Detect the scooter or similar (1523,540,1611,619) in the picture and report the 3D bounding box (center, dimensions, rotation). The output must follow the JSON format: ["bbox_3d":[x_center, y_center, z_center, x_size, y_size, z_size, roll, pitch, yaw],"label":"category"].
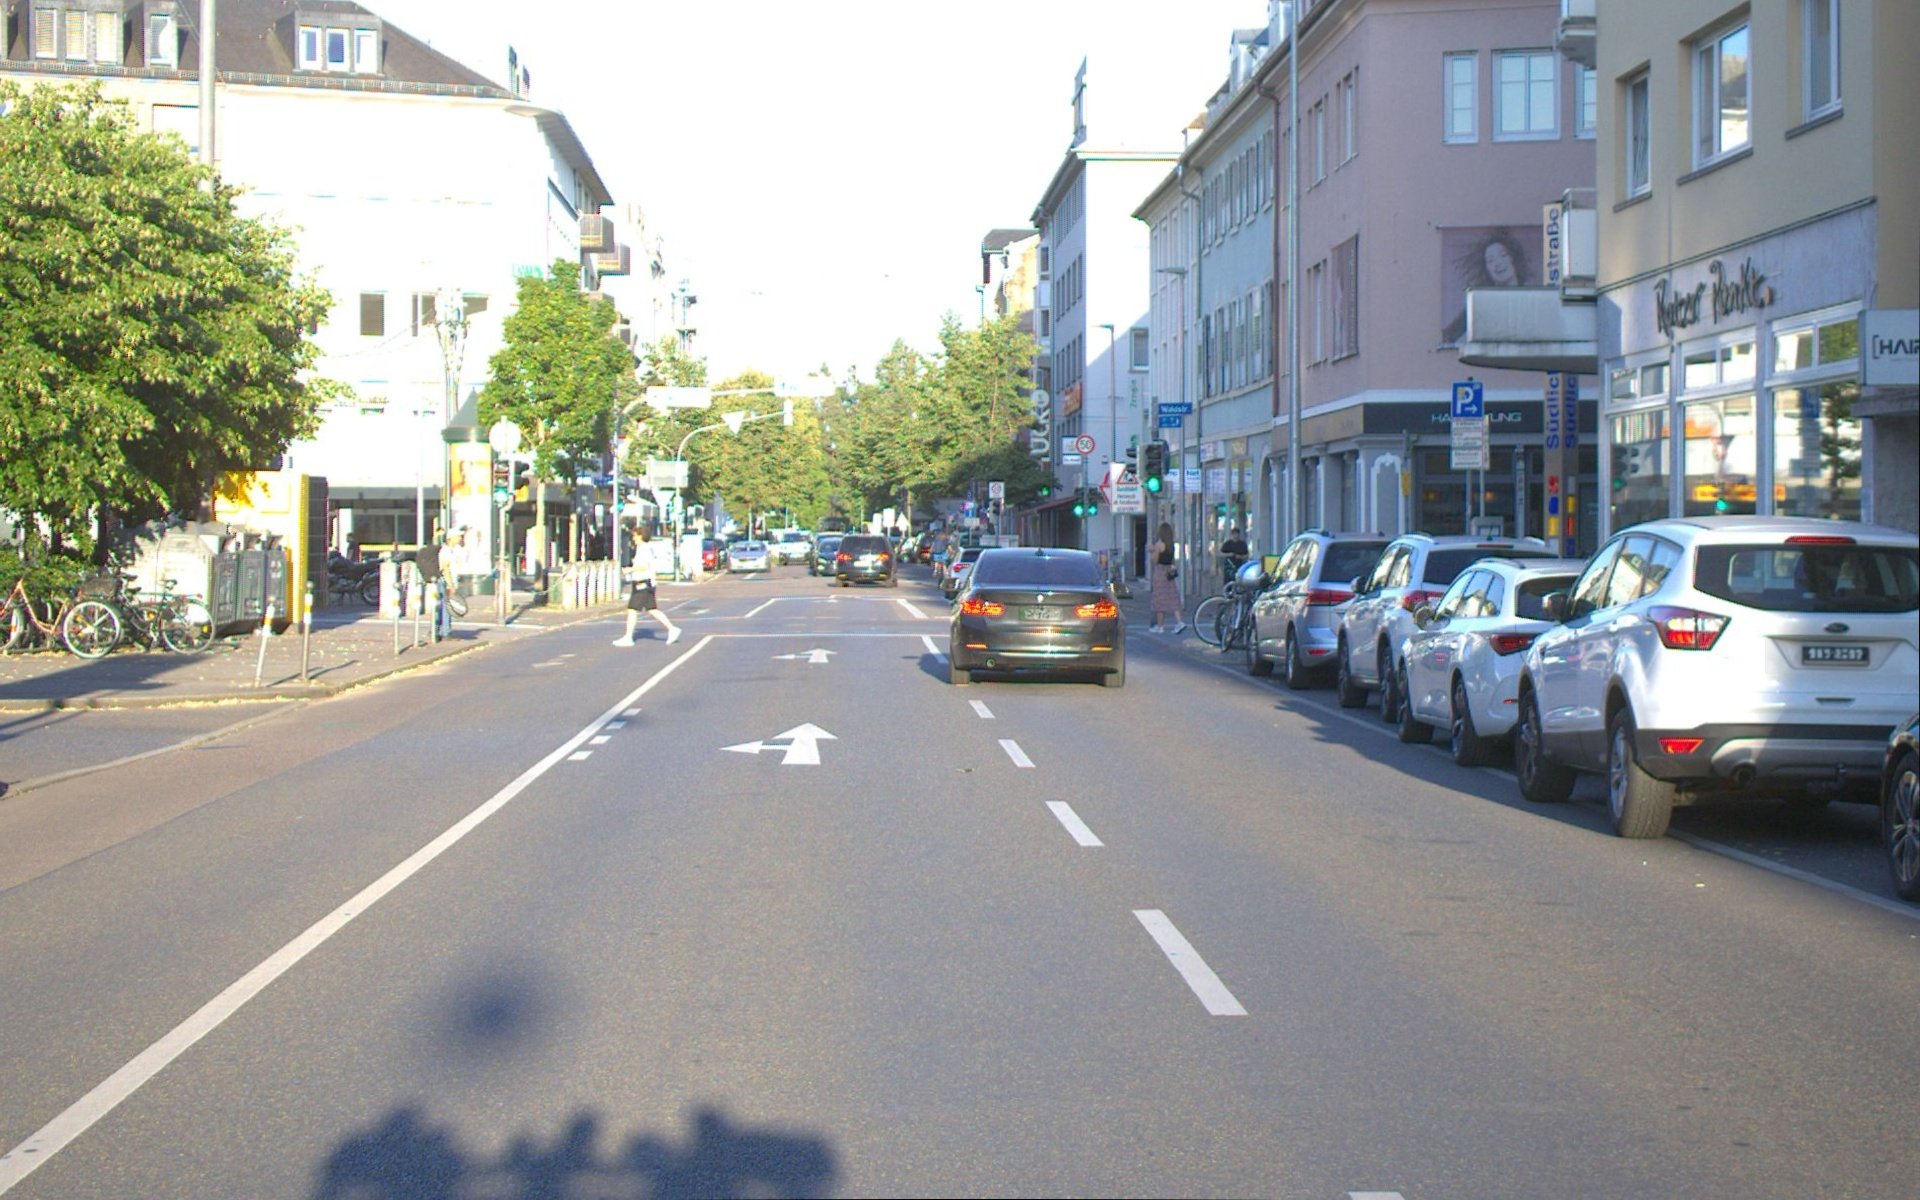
[{"bbox_3d":[9.904,-0.341,56.090,1.318,1.260,0.523,1,1,20],"label":"scooter or similar"}]

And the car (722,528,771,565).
[{"bbox_3d":[-9.281,-2.339,149.775,1.894,1.590,4.000,1,1,0],"label":"car"}]

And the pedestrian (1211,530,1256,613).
[{"bbox_3d":[5.874,-0.617,73.957,0.757,1.771,1.049,1,1,-6],"label":"pedestrian"}]

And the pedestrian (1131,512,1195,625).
[{"bbox_3d":[3.102,-0.488,52.566,0.794,1.714,0.812,1,1,-9],"label":"pedestrian"}]

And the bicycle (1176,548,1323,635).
[{"bbox_3d":[3.906,-0.121,46.497,1.884,1.163,0.723,0,1,-5],"label":"bicycle"}]

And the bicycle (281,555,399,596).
[{"bbox_3d":[-13.799,-0.547,76.539,2.523,0.916,0.701,0,1,-4],"label":"bicycle"}]

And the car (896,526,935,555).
[{"bbox_3d":[-2.511,-3.357,194.289,1.893,1.590,4.001,1,1,-5],"label":"car"}]

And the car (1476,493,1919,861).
[{"bbox_3d":[4.254,0.311,19.197,1.882,1.739,4.660,0,3,-2],"label":"car"}]

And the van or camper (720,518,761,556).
[{"bbox_3d":[-14.087,-4.050,220.082,2.472,2.397,4.001,1,1,-6],"label":"van or camper"}]

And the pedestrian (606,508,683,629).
[{"bbox_3d":[-4.516,-0.459,49.217,0.868,1.714,0.760,0,1,-26],"label":"pedestrian"}]

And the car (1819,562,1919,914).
[{"bbox_3d":[4.983,0.611,13.252,1.993,1.429,4.851,1,1,-2],"label":"car"}]

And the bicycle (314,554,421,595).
[{"bbox_3d":[-13.412,-0.587,77.812,2.327,0.916,0.701,0,1,-4],"label":"bicycle"}]

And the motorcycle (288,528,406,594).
[{"bbox_3d":[-13.318,-0.843,74.733,2.412,1.421,1.113,0,1,-2],"label":"motorcycle"}]

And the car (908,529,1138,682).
[{"bbox_3d":[0.590,0.015,36.001,1.888,1.486,4.205,1,1,-6],"label":"car"}]

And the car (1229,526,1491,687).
[{"bbox_3d":[4.189,0.015,36.792,1.993,1.607,4.804,0,1,-3],"label":"car"}]

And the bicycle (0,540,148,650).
[{"bbox_3d":[-11.119,-0.077,41.521,2.506,1.279,0.815,1,1,19],"label":"bicycle"}]

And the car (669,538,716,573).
[{"bbox_3d":[-12.614,-2.098,162.225,1.894,1.590,4.000,1,1,0],"label":"car"}]

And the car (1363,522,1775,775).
[{"bbox_3d":[4.276,0.265,24.975,2.015,1.538,4.870,0,3,-1],"label":"car"}]

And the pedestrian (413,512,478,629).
[{"bbox_3d":[-7.615,-0.442,50.859,0.881,1.714,0.716,0,1,-13],"label":"pedestrian"}]

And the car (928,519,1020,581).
[{"bbox_3d":[0.345,-1.372,92.798,2.334,1.598,3.894,1,1,-2],"label":"car"}]

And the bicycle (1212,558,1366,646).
[{"bbox_3d":[4.217,0.031,44.180,1.884,1.109,0.593,1,0,-5],"label":"bicycle"}]

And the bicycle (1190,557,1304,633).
[{"bbox_3d":[4.001,-0.072,47.913,1.499,1.022,0.512,-1,1,-6],"label":"bicycle"}]

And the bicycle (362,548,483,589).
[{"bbox_3d":[-13.623,-0.806,87.139,2.942,1.019,0.843,0,1,1],"label":"bicycle"}]

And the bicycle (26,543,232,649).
[{"bbox_3d":[-10.399,-0.053,43.051,2.430,1.233,0.518,2,1,-3],"label":"bicycle"}]

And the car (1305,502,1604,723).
[{"bbox_3d":[4.321,0.044,30.695,1.867,1.756,4.409,0,3,-2],"label":"car"}]

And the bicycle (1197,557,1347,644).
[{"bbox_3d":[4.081,0.008,45.010,1.884,1.108,0.521,1,1,-5],"label":"bicycle"}]

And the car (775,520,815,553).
[{"bbox_3d":[-8.972,-3.464,187.431,1.993,1.744,4.000,1,1,0],"label":"car"}]

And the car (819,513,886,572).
[{"bbox_3d":[-3.284,-1.773,105.498,1.993,1.744,4.001,1,1,-2],"label":"car"}]

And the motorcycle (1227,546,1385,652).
[{"bbox_3d":[4.235,-0.016,42.145,1.812,1.259,0.716,-1,1,-4],"label":"motorcycle"}]

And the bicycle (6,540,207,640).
[{"bbox_3d":[-10.847,-0.132,43.721,2.430,1.233,0.462,1,1,-3],"label":"bicycle"}]

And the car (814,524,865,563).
[{"bbox_3d":[-4.710,-2.220,135.113,1.884,1.481,4.000,1,1,0],"label":"car"}]

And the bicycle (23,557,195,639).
[{"bbox_3d":[-10.959,-0.031,44.307,2.043,0.967,0.636,2,1,-3],"label":"bicycle"}]

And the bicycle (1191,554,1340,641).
[{"bbox_3d":[4.042,-0.036,45.549,1.884,1.108,0.602,1,1,-4],"label":"bicycle"}]

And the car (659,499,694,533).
[{"bbox_3d":[-17.229,-5.113,209.116,1.828,2.007,3.676,1,1,0],"label":"car"}]

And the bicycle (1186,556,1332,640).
[{"bbox_3d":[4.107,-0.032,47.314,1.884,1.108,0.762,1,1,-5],"label":"bicycle"}]
